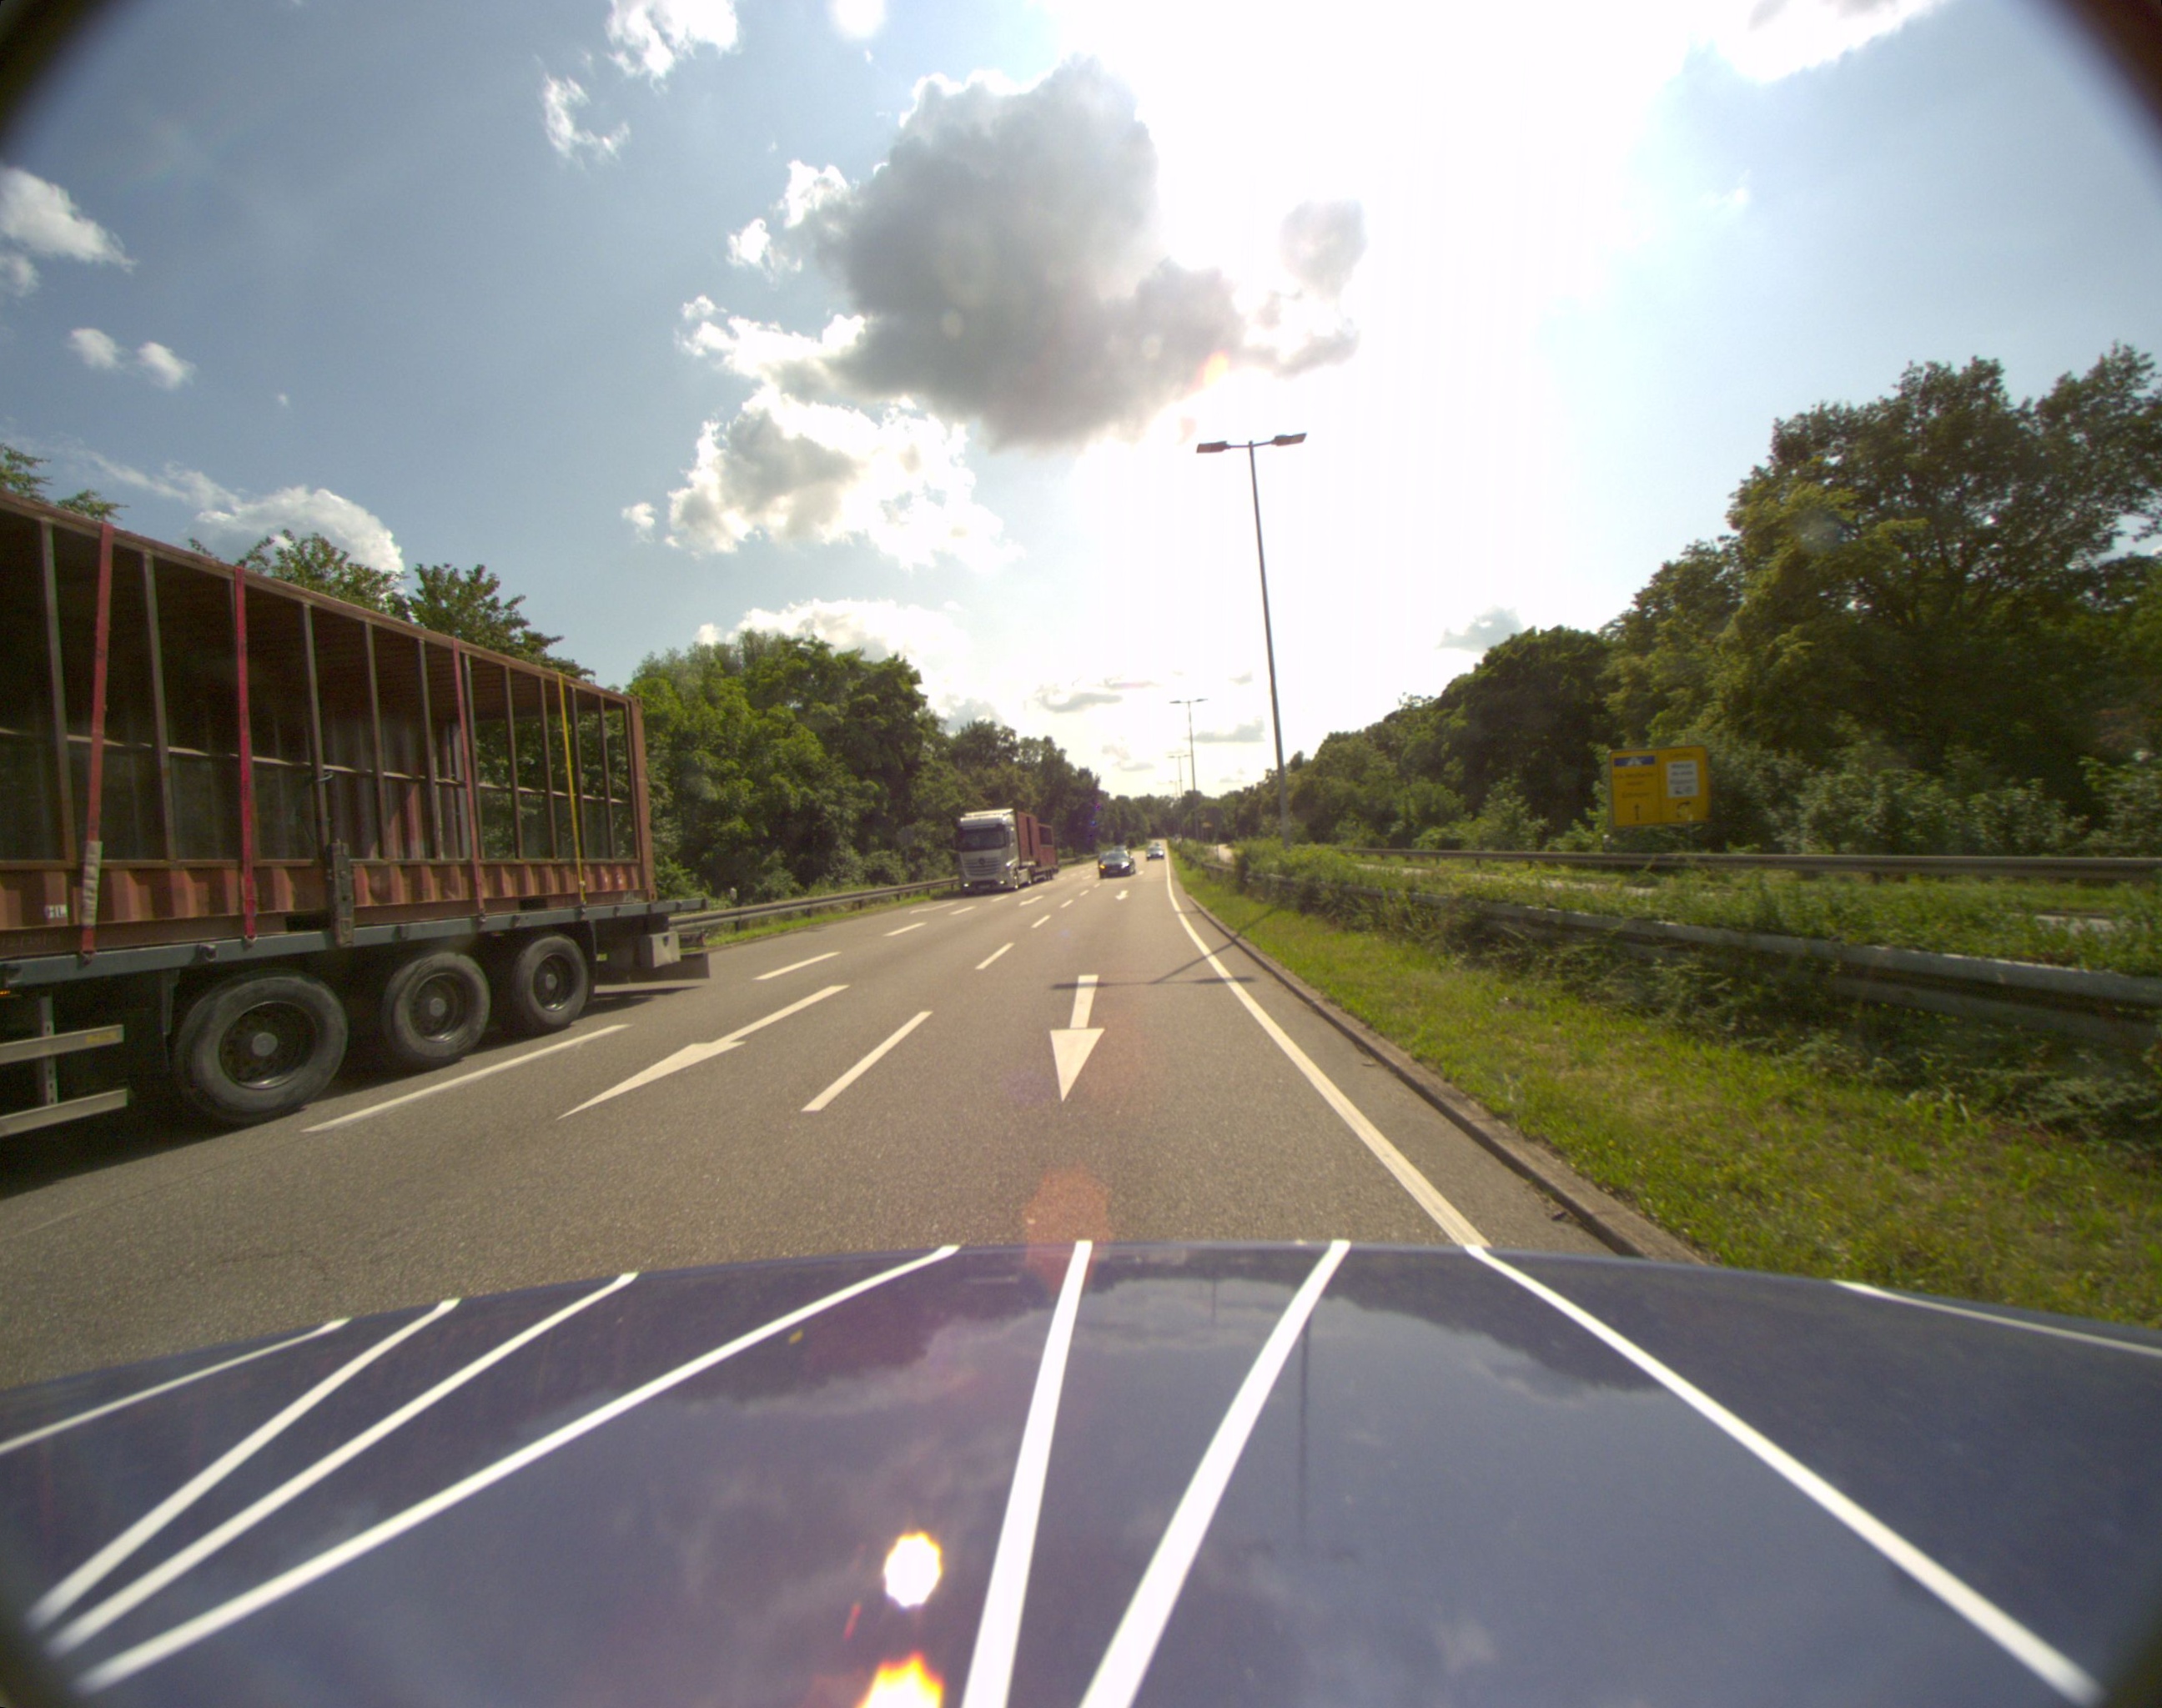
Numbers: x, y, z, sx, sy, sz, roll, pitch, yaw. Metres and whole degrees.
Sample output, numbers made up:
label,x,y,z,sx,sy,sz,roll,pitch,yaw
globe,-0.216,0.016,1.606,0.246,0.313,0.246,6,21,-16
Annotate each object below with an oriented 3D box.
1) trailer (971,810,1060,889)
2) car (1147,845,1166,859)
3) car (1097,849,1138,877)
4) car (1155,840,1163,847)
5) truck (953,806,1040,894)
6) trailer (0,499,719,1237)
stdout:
label,x,y,z,sx,sy,sz,roll,pitch,yaw
trailer,-3.492,-0.211,44.524,2.777,3.827,12.326,-4,0,6
car,7.998,-0.200,80.355,1.858,1.354,4.001,-2,0,4
car,2.183,0.491,44.583,1.794,1.427,4.373,-3,0,10
car,24.178,-3.177,234.923,1.976,2.002,4.000,-2,1,2
truck,-4.067,-0.177,38.209,2.775,3.822,6.823,-4,0,5
trailer,-6.968,0.136,3.885,2.645,3.868,13.850,-5,0,3
